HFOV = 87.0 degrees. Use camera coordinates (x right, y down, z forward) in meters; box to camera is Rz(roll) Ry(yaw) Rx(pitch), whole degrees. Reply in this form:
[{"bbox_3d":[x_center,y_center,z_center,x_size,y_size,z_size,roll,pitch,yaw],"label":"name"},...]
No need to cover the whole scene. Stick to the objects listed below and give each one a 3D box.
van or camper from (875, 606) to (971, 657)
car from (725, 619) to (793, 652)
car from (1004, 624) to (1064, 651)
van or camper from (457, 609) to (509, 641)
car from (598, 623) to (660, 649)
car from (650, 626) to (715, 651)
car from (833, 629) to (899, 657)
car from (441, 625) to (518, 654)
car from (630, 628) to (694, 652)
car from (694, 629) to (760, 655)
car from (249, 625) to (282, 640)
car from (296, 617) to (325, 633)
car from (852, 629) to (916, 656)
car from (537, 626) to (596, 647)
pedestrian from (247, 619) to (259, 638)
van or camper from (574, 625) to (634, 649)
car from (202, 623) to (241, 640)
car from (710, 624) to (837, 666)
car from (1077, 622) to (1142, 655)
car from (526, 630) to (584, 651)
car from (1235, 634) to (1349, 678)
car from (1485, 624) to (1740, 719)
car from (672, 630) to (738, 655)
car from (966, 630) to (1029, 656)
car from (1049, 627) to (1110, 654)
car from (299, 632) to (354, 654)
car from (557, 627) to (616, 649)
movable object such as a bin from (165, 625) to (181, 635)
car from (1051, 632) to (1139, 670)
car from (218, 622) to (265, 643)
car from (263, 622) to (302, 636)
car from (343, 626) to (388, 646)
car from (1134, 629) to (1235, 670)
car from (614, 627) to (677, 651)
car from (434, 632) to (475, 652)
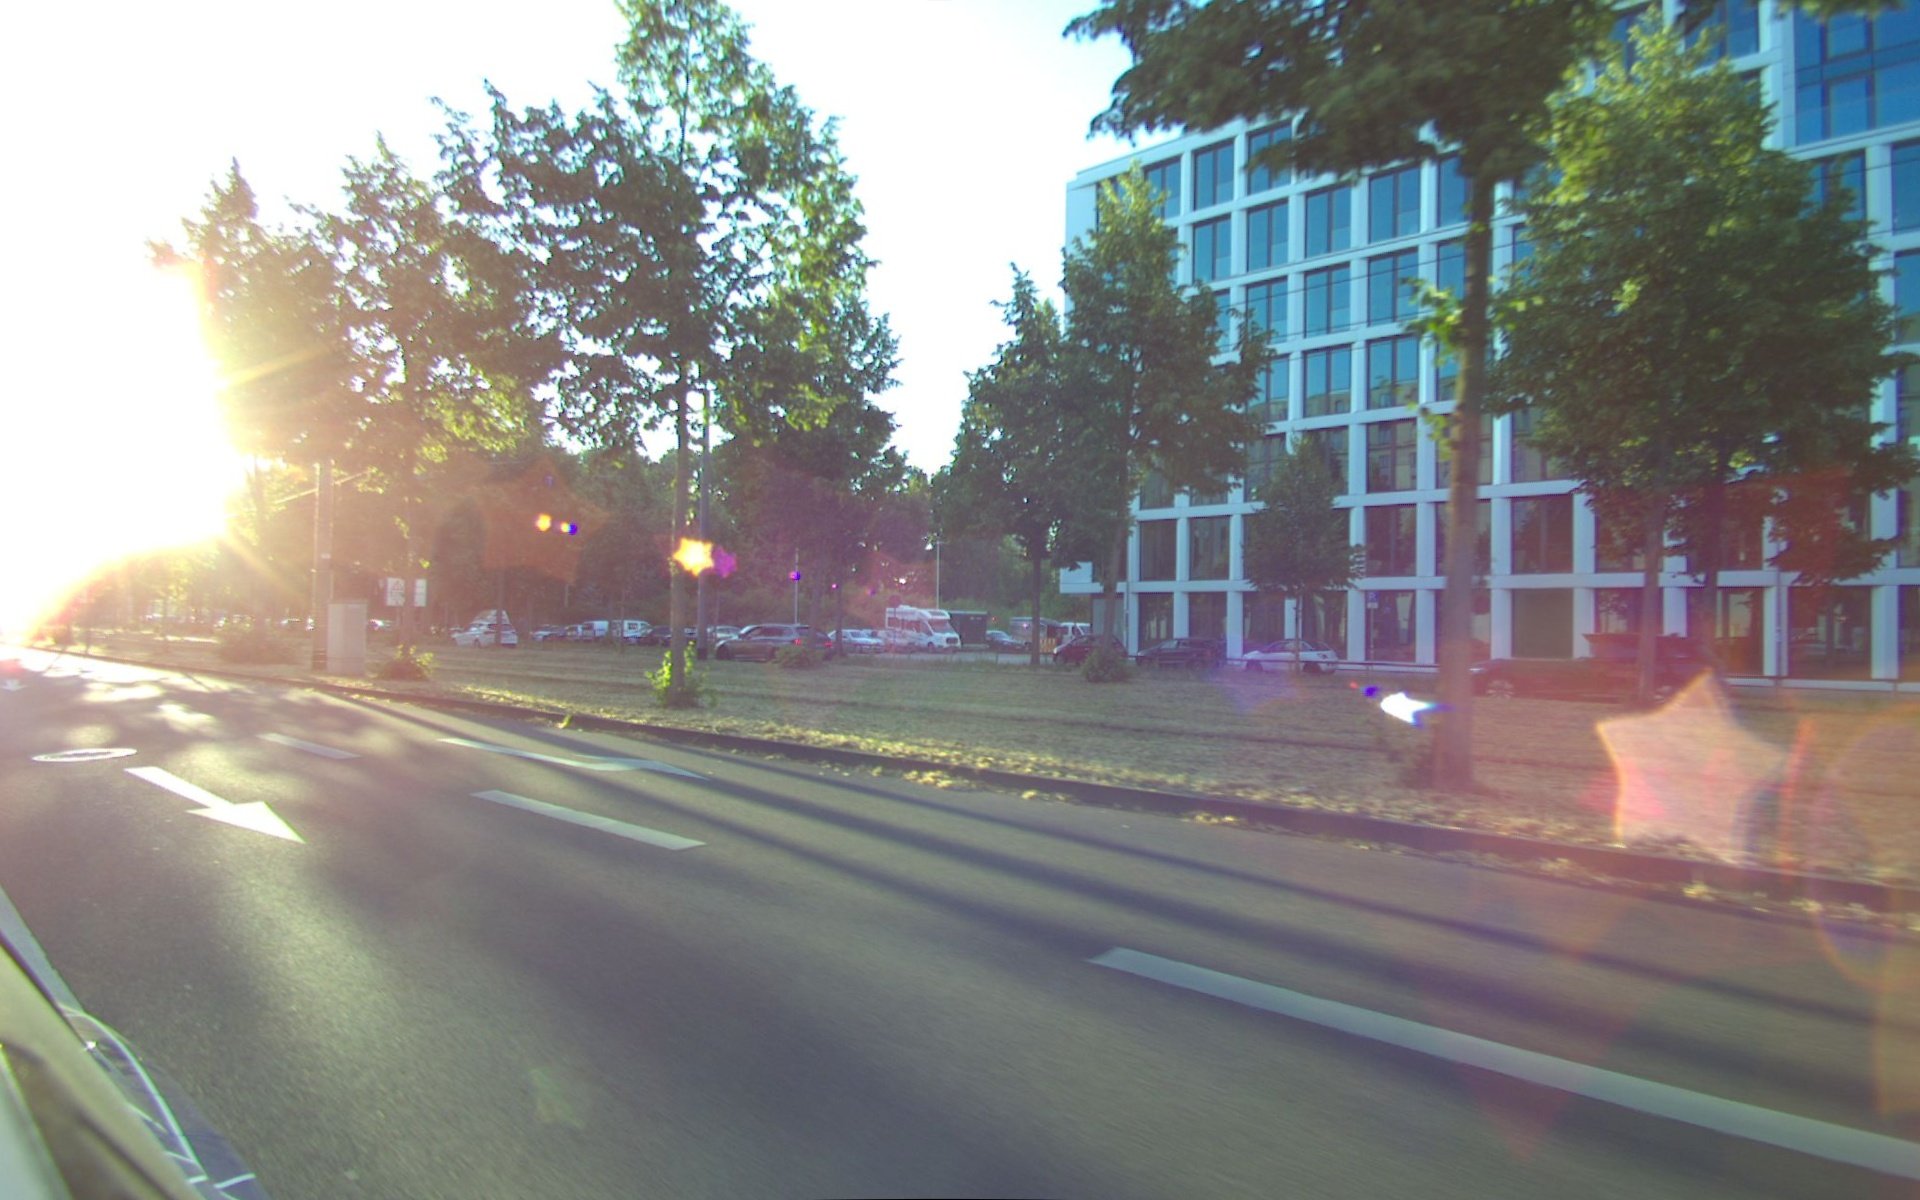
[{"bbox_3d":[-2.438,2.023,65.528,6.265,3.109,2.679,-1,-2,45],"label":"van or camper"},{"bbox_3d":[-12.859,2.265,64.935,1.997,2.029,3.949,-1,-2,37],"label":"car"},{"bbox_3d":[5.188,2.643,71.185,4.001,1.825,1.894,-1,-2,44],"label":"car"},{"bbox_3d":[-42.666,2.240,90.518,5.490,2.756,2.064,-1,-2,40],"label":"van or camper"},{"bbox_3d":[-24.700,2.689,75.596,2.011,1.858,3.945,-1,-2,41],"label":"car"},{"bbox_3d":[-18.951,2.637,69.319,1.919,1.652,3.949,-1,-2,37],"label":"car"},{"bbox_3d":[-5.799,2.644,62.179,4.002,1.652,1.894,-1,-3,45],"label":"car"},{"bbox_3d":[-23.451,1.889,49.318,4.525,1.342,1.640,-1,-2,39],"label":"car"},{"bbox_3d":[-20.936,2.778,71.121,1.919,1.652,3.949,-1,-2,37],"label":"car"},{"bbox_3d":[-15.180,2.736,66.098,1.919,1.652,3.949,-1,-2,37],"label":"car"},{"bbox_3d":[-74.193,3.479,108.122,4.305,1.511,1.879,-1,-2,42],"label":"car"},{"bbox_3d":[-84.266,3.242,131.279,5.060,2.029,1.971,-2,-3,44],"label":"car"},{"bbox_3d":[-4.839,2.686,64.330,4.002,1.652,1.894,-1,-3,45],"label":"car"},{"bbox_3d":[-31.319,2.921,80.642,1.919,1.652,3.949,-1,-2,37],"label":"car"},{"bbox_3d":[-71.314,2.916,102.144,0.864,1.884,0.687,-1,-2,33],"label":"pedestrian"},{"bbox_3d":[-27.179,2.835,77.309,1.992,1.805,3.958,-1,-2,30],"label":"van or camper"},{"bbox_3d":[-66.209,2.806,90.754,4.284,1.519,1.898,-1,-2,41],"label":"car"},{"bbox_3d":[-6.445,1.516,34.656,4.737,1.342,1.640,-1,-2,39],"label":"car"},{"bbox_3d":[10.806,2.789,73.430,2.073,2.325,4.515,2,-2,-37],"label":"car"},{"bbox_3d":[-33.254,3.328,83.185,1.922,1.652,3.944,-1,-2,42],"label":"car"},{"bbox_3d":[12.851,2.116,39.253,3.783,1.594,1.840,-1,-2,42],"label":"car"},{"bbox_3d":[11.849,1.215,18.470,3.724,1.559,1.784,-1,-2,40],"label":"car"},{"bbox_3d":[-17.091,2.839,67.975,1.919,1.652,3.949,-1,-2,37],"label":"car"},{"bbox_3d":[2.488,2.869,67.885,4.002,1.652,1.894,-1,-3,45],"label":"car"},{"bbox_3d":[8.453,2.855,71.594,4.001,1.825,1.894,-1,-2,44],"label":"car"},{"bbox_3d":[-40.781,2.751,65.123,4.469,1.342,1.640,-1,-2,39],"label":"car"},{"bbox_3d":[-29.396,2.968,79.675,1.919,1.652,3.949,-1,-2,37],"label":"car"},{"bbox_3d":[-116.446,4.436,149.792,1.724,1.383,1.536,-1,-2,42],"label":"movable object such as a bin"},{"bbox_3d":[5.986,2.256,45.112,3.491,1.594,1.840,-1,-2,42],"label":"car"},{"bbox_3d":[-55.084,2.495,77.594,4.178,1.590,1.866,-1,-2,39],"label":"car"},{"bbox_3d":[-67.245,2.910,100.473,5.141,1.325,1.972,-1,-2,42],"label":"car"},{"bbox_3d":[-53.403,3.230,90.835,4.787,1.763,1.973,-1,-2,40],"label":"car"},{"bbox_3d":[9.281,2.019,41.981,3.664,1.594,1.840,-1,-2,42],"label":"car"},{"bbox_3d":[-22.756,2.823,73.292,3.939,1.652,1.924,2,-2,-42],"label":"car"},{"bbox_3d":[-46.709,3.892,93.543,3.997,1.763,1.973,-1,-2,40],"label":"car"}]
